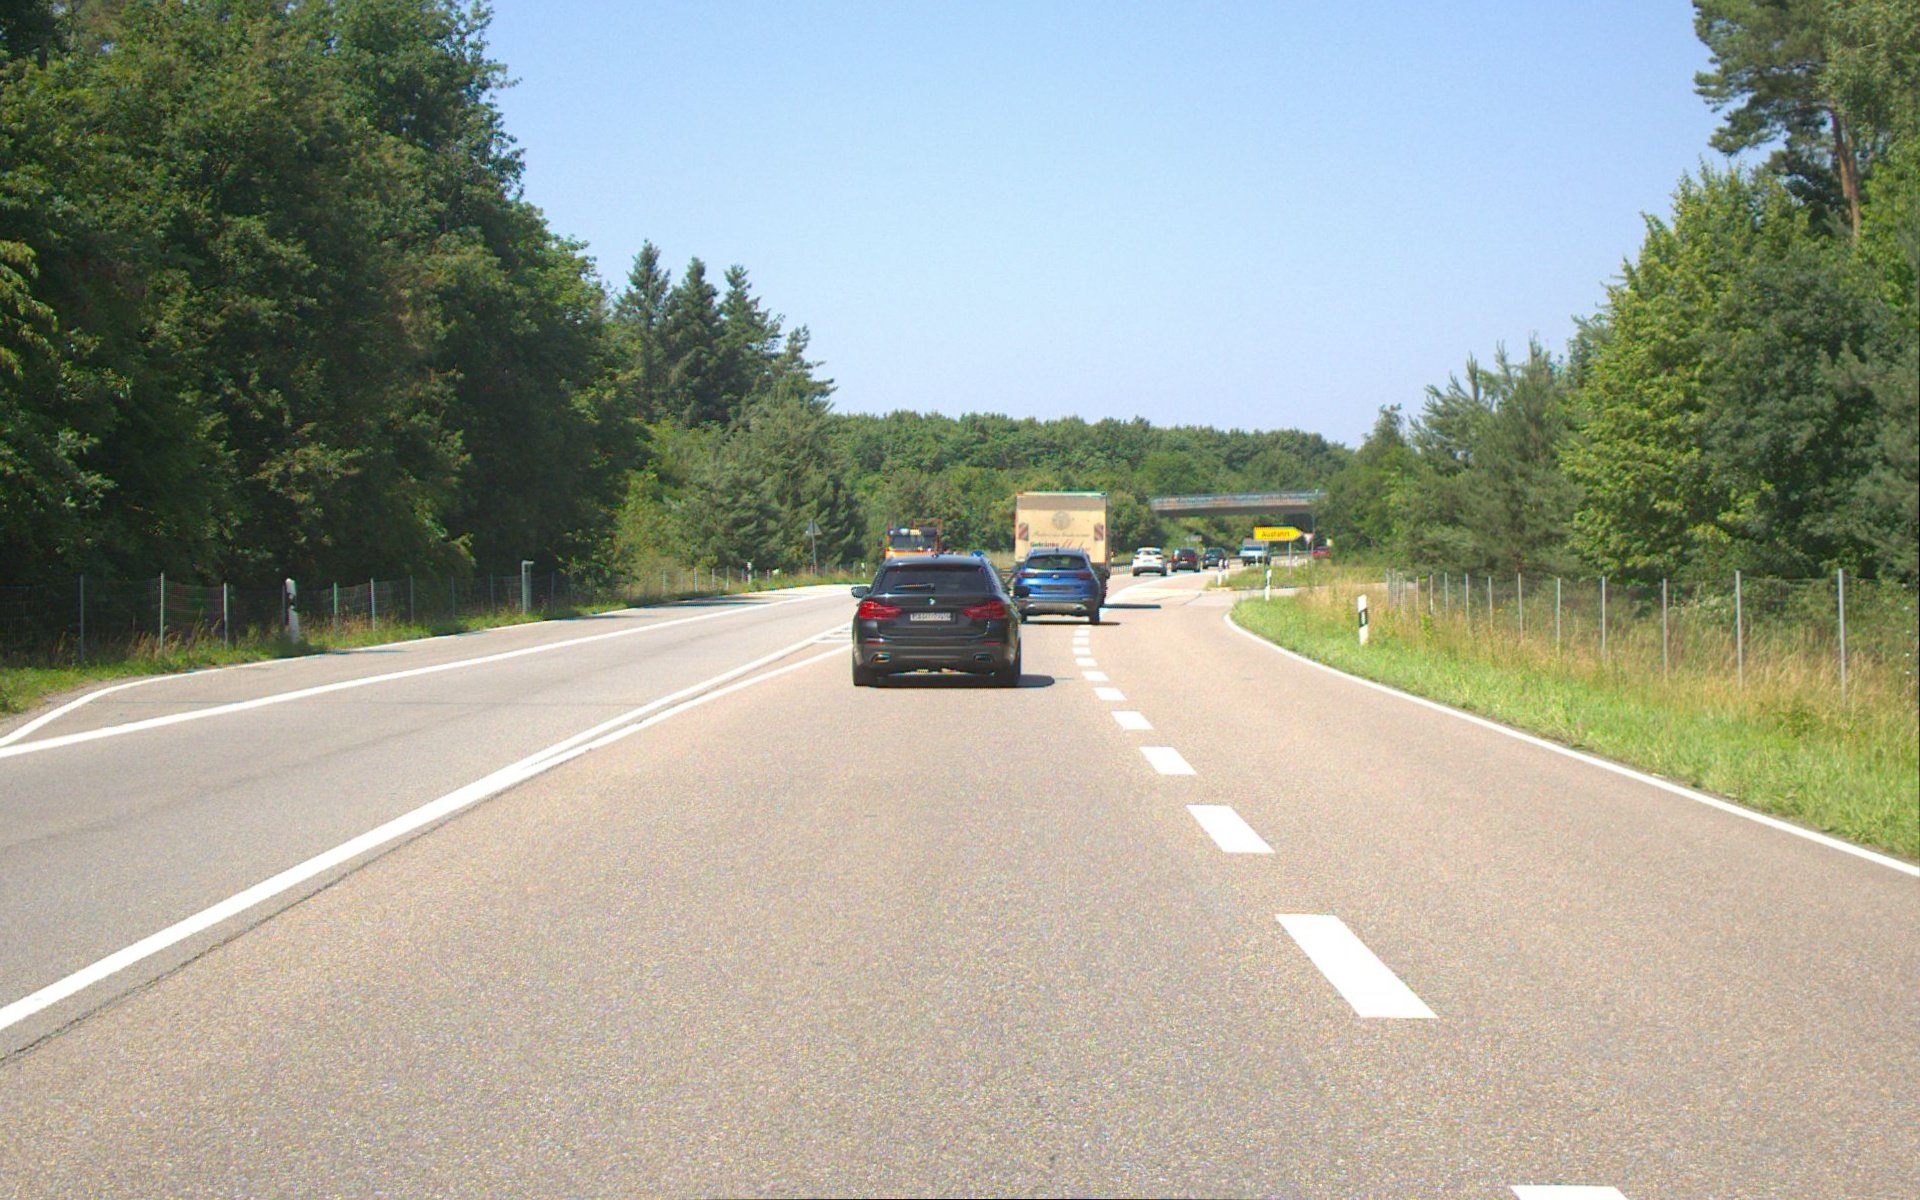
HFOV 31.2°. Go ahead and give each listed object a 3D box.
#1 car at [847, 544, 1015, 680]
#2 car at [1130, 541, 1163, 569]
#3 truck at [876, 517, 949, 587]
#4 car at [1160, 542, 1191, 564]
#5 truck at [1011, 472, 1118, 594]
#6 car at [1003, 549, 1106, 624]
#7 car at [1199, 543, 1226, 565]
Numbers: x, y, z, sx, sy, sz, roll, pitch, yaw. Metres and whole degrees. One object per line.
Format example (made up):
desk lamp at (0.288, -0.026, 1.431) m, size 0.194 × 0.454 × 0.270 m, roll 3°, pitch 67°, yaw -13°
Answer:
car at (-0.333, 0.100, 39.363) m, size 1.820 × 1.465 × 4.000 m, roll 0°, pitch 1°, yaw -1°
car at (10.988, -2.641, 202.312) m, size 1.863 × 1.600 × 4.000 m, roll 0°, pitch 1°, yaw 2°
truck at (-1.850, -1.912, 136.762) m, size 2.399 × 2.713 × 6.551 m, roll 1°, pitch 1°, yaw 4°
car at (14.562, -3.156, 232.331) m, size 1.994 × 1.415 × 4.000 m, roll 1°, pitch 1°, yaw 2°
truck at (2.938, -1.931, 98.280) m, size 2.965 × 3.376 × 6.438 m, roll 0°, pitch 1°, yaw 1°
car at (2.012, -0.309, 74.402) m, size 1.947 × 1.536 × 4.001 m, roll -1°, pitch 1°, yaw -2°
car at (19.175, -3.525, 261.313) m, size 1.994 × 1.631 × 4.000 m, roll -1°, pitch 1°, yaw 4°
